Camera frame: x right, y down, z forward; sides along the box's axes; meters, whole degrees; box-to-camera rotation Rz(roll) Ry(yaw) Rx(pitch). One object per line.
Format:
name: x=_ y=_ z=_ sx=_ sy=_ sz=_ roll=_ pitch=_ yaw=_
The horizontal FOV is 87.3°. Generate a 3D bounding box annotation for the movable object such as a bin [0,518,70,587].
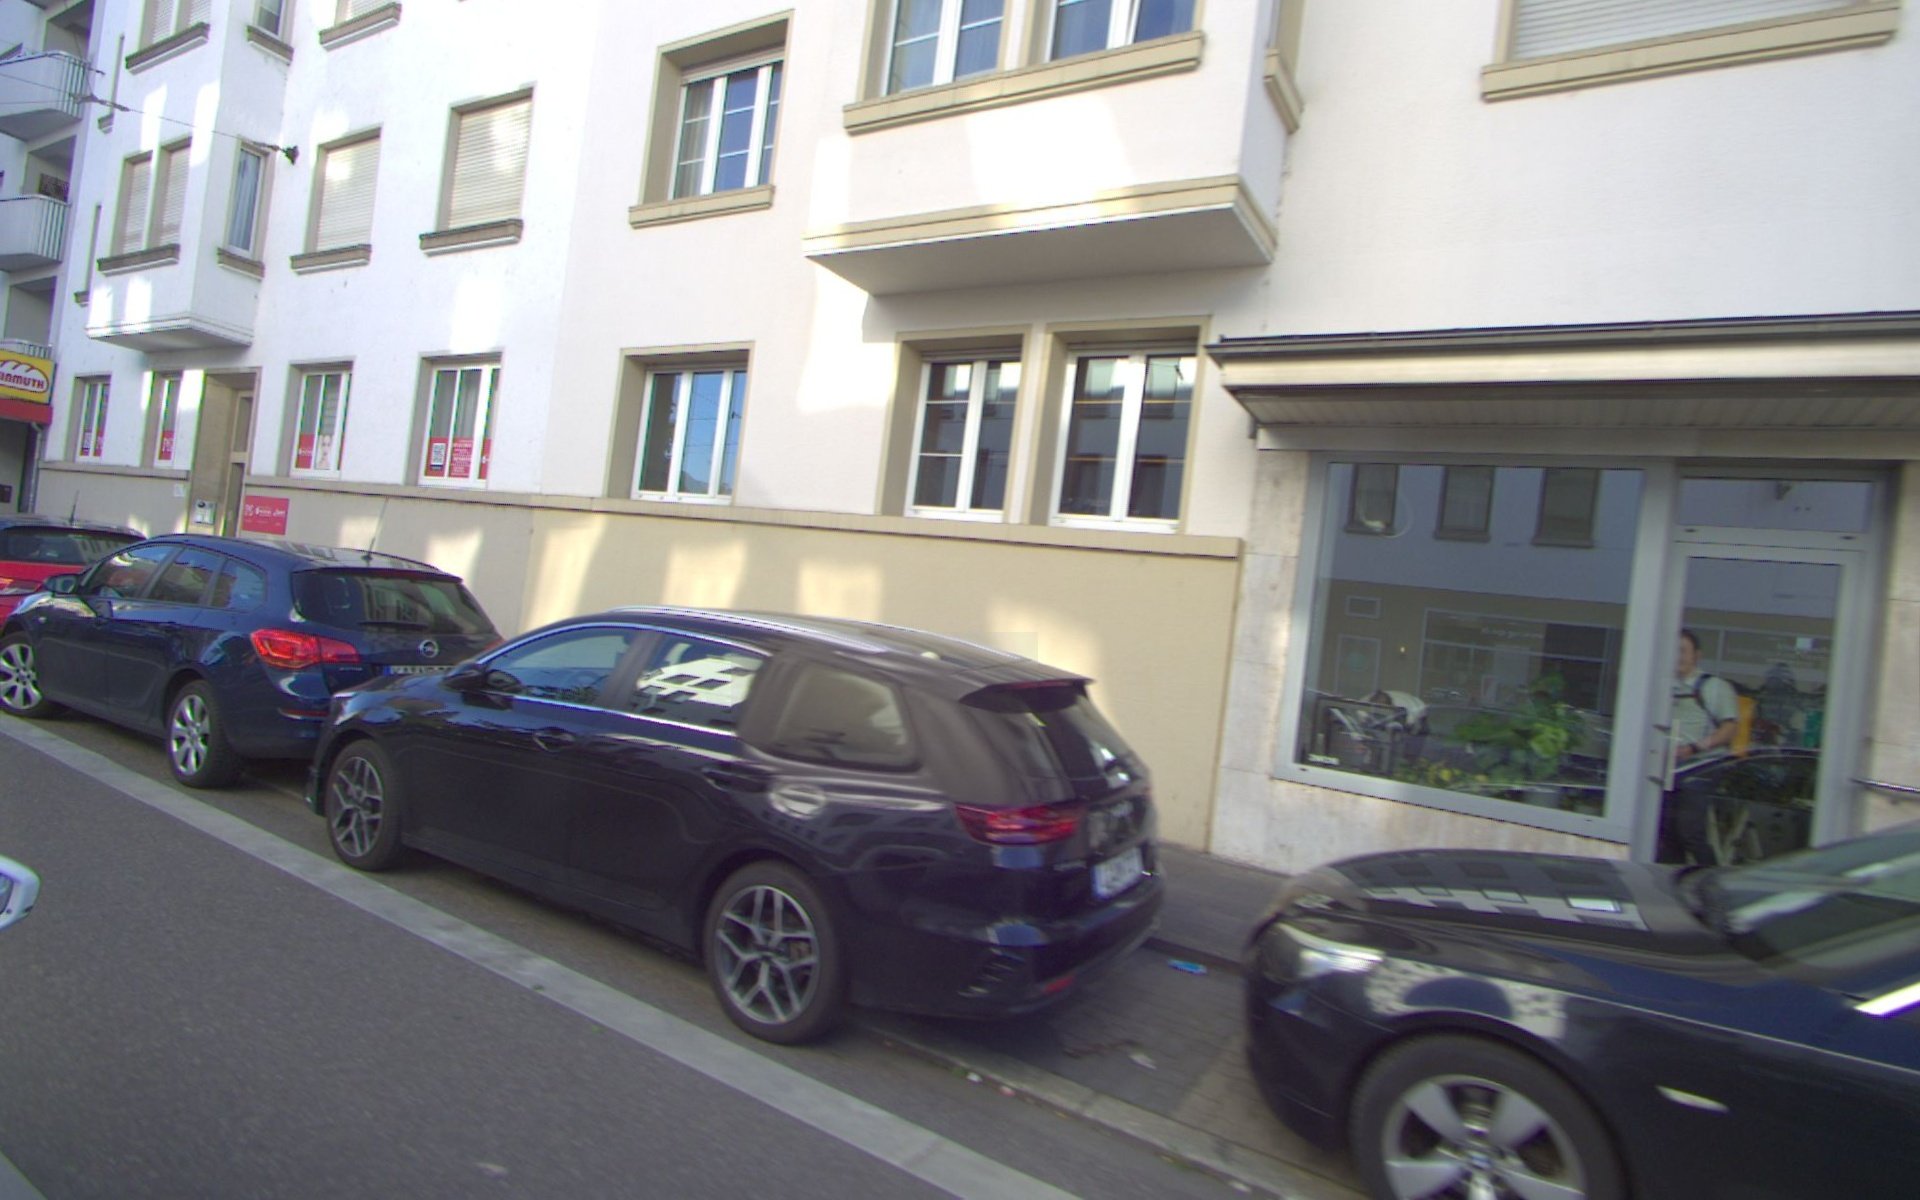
movable object such as a bin: x=-16.190 y=-0.824 z=17.602 sx=0.560 sy=1.085 sz=0.677 roll=7 pitch=-1 yaw=30

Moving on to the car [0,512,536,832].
car: x=-5.118 y=0.327 z=7.150 sx=4.029 sy=1.527 sz=1.858 roll=6 pitch=1 yaw=33

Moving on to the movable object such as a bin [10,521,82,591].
movable object such as a bin: x=-15.694 y=-0.755 z=17.284 sx=0.560 sy=1.085 sz=0.677 roll=7 pitch=-1 yaw=30

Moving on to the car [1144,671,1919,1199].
car: x=3.124 y=1.253 z=2.517 sx=4.839 sy=1.527 sz=1.749 roll=6 pitch=1 yaw=33

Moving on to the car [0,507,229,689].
car: x=-9.304 y=-0.136 z=10.080 sx=3.924 sy=1.491 sz=1.858 roll=6 pitch=1 yaw=33

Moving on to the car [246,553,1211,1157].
car: x=-1.278 y=0.770 z=4.938 sx=4.430 sy=1.527 sz=1.859 roll=6 pitch=1 yaw=29

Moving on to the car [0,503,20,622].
car: x=-13.777 y=-0.681 z=12.733 sx=4.287 sy=1.425 sz=1.711 roll=6 pitch=1 yaw=33
